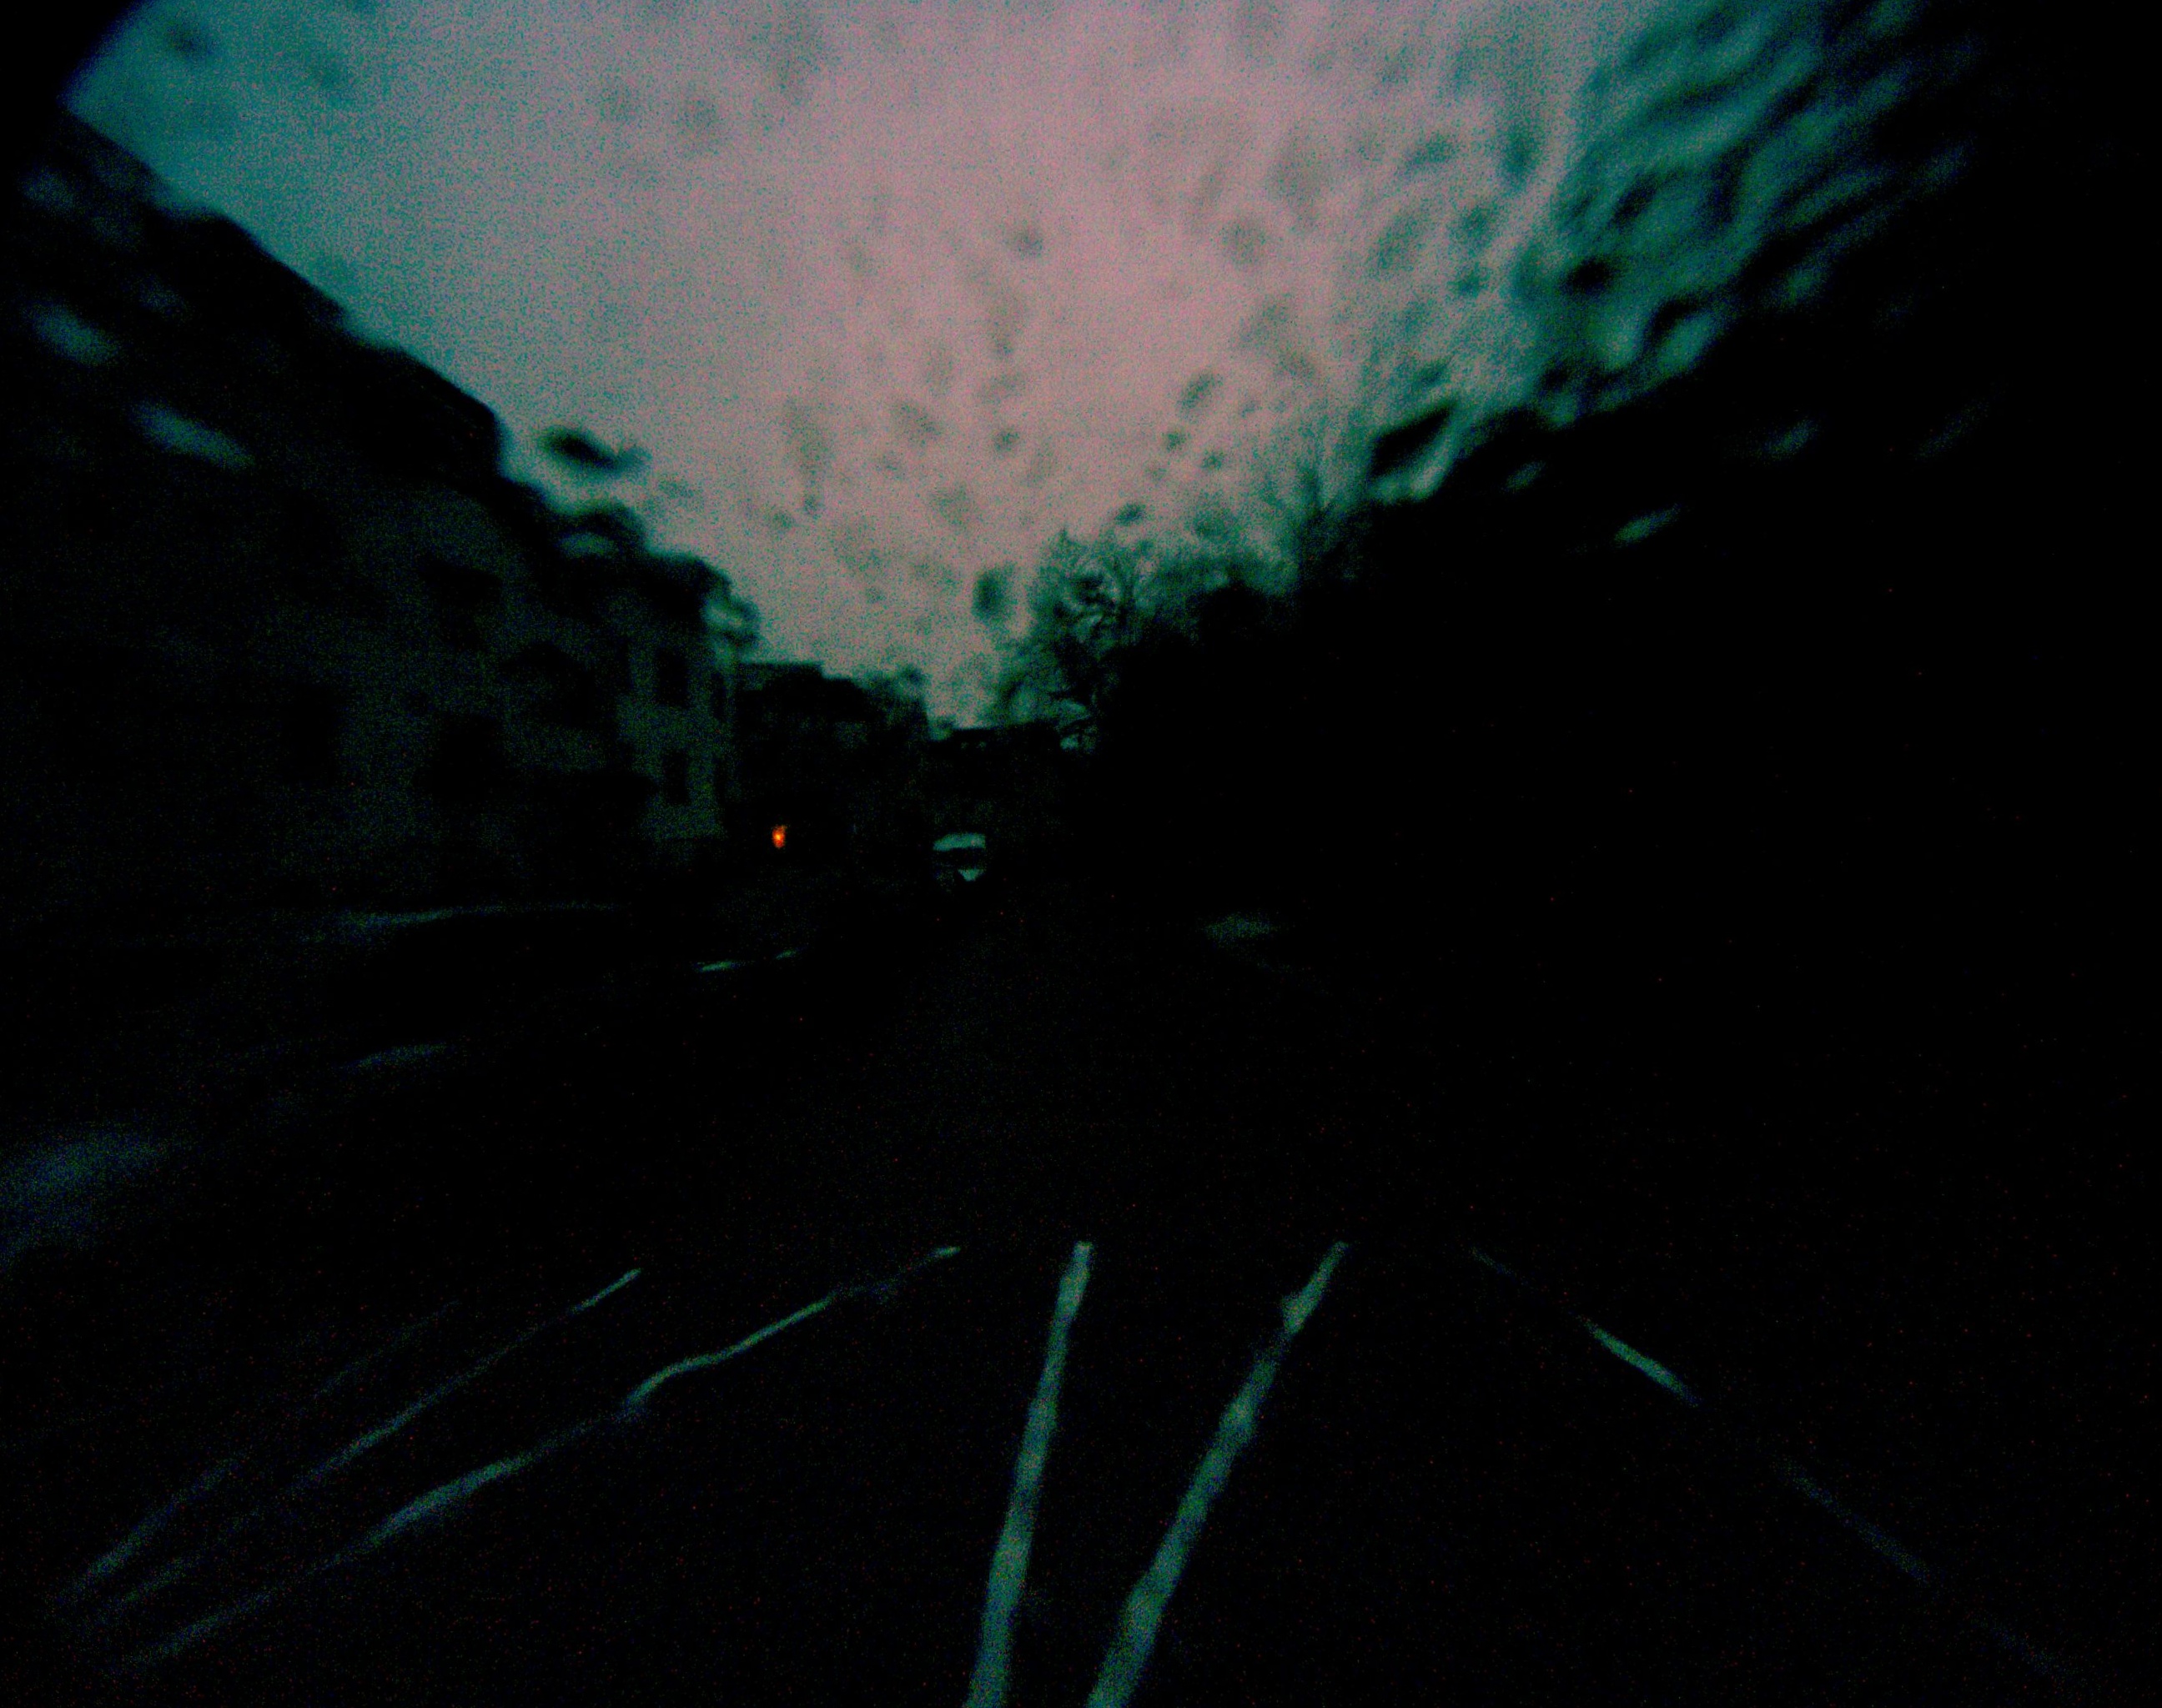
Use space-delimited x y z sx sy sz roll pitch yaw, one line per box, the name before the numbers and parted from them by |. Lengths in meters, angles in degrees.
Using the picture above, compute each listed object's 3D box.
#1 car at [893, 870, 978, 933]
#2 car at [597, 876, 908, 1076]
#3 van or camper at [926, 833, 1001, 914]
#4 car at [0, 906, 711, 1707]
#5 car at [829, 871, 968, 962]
car | -3.778 1.187 20.336 1.660 1.382 4.121 -1 0 -3
car | -3.251 1.085 8.623 1.660 1.421 4.562 -3 0 -3
van or camper | -4.048 0.620 27.249 2.020 2.493 6.791 -1 0 -4
car | -3.199 1.097 2.643 1.743 1.421 4.455 -3 0 -3
car | -3.384 1.093 14.963 1.660 1.382 4.532 0 0 0
